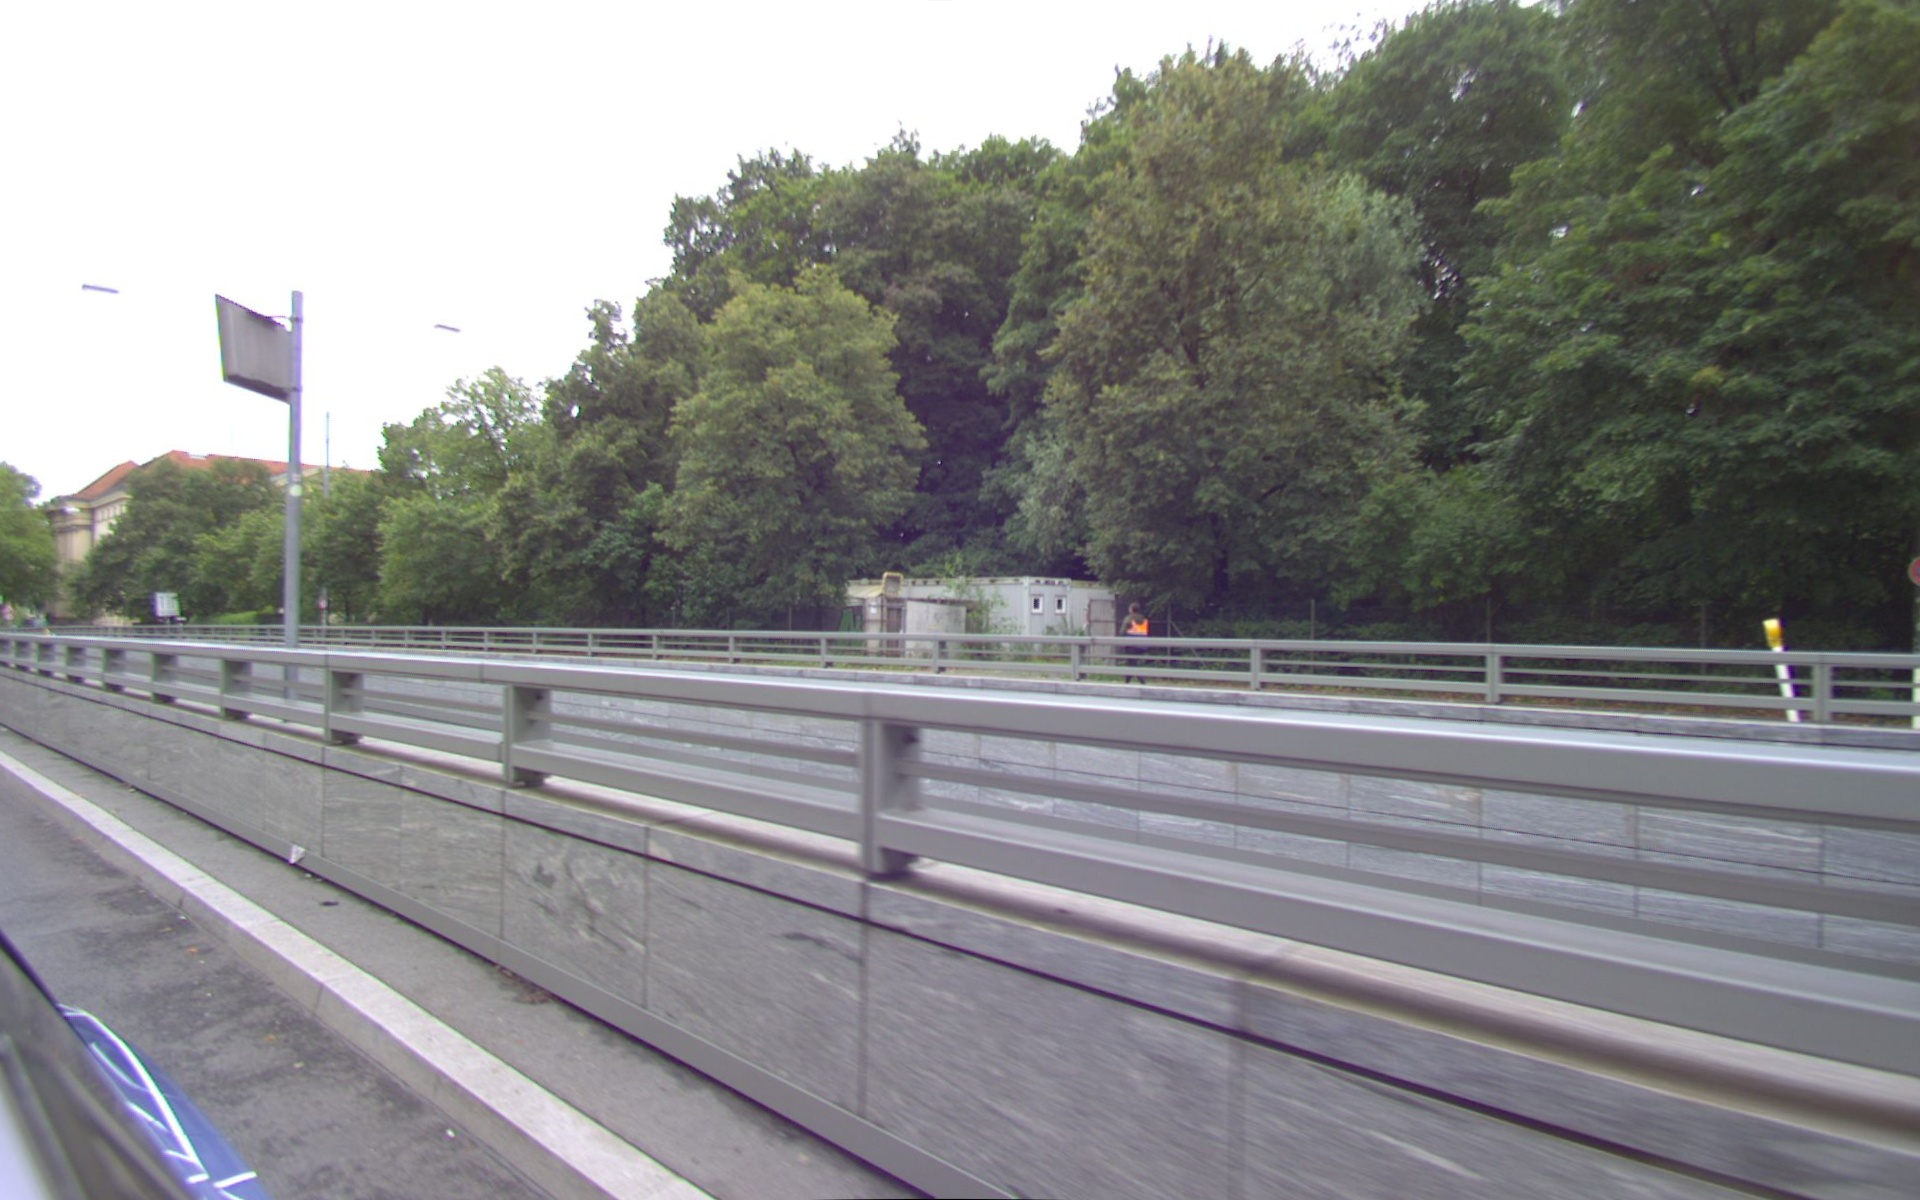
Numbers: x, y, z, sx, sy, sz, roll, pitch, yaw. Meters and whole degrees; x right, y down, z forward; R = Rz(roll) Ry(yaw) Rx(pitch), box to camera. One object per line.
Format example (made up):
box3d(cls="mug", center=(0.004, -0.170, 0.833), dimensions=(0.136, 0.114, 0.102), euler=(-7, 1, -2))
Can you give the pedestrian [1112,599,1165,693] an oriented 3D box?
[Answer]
box3d(cls="pedestrian", center=(3.220, 0.817, 18.258), dimensions=(0.698, 1.653, 0.656), euler=(-1, -1, 42))
